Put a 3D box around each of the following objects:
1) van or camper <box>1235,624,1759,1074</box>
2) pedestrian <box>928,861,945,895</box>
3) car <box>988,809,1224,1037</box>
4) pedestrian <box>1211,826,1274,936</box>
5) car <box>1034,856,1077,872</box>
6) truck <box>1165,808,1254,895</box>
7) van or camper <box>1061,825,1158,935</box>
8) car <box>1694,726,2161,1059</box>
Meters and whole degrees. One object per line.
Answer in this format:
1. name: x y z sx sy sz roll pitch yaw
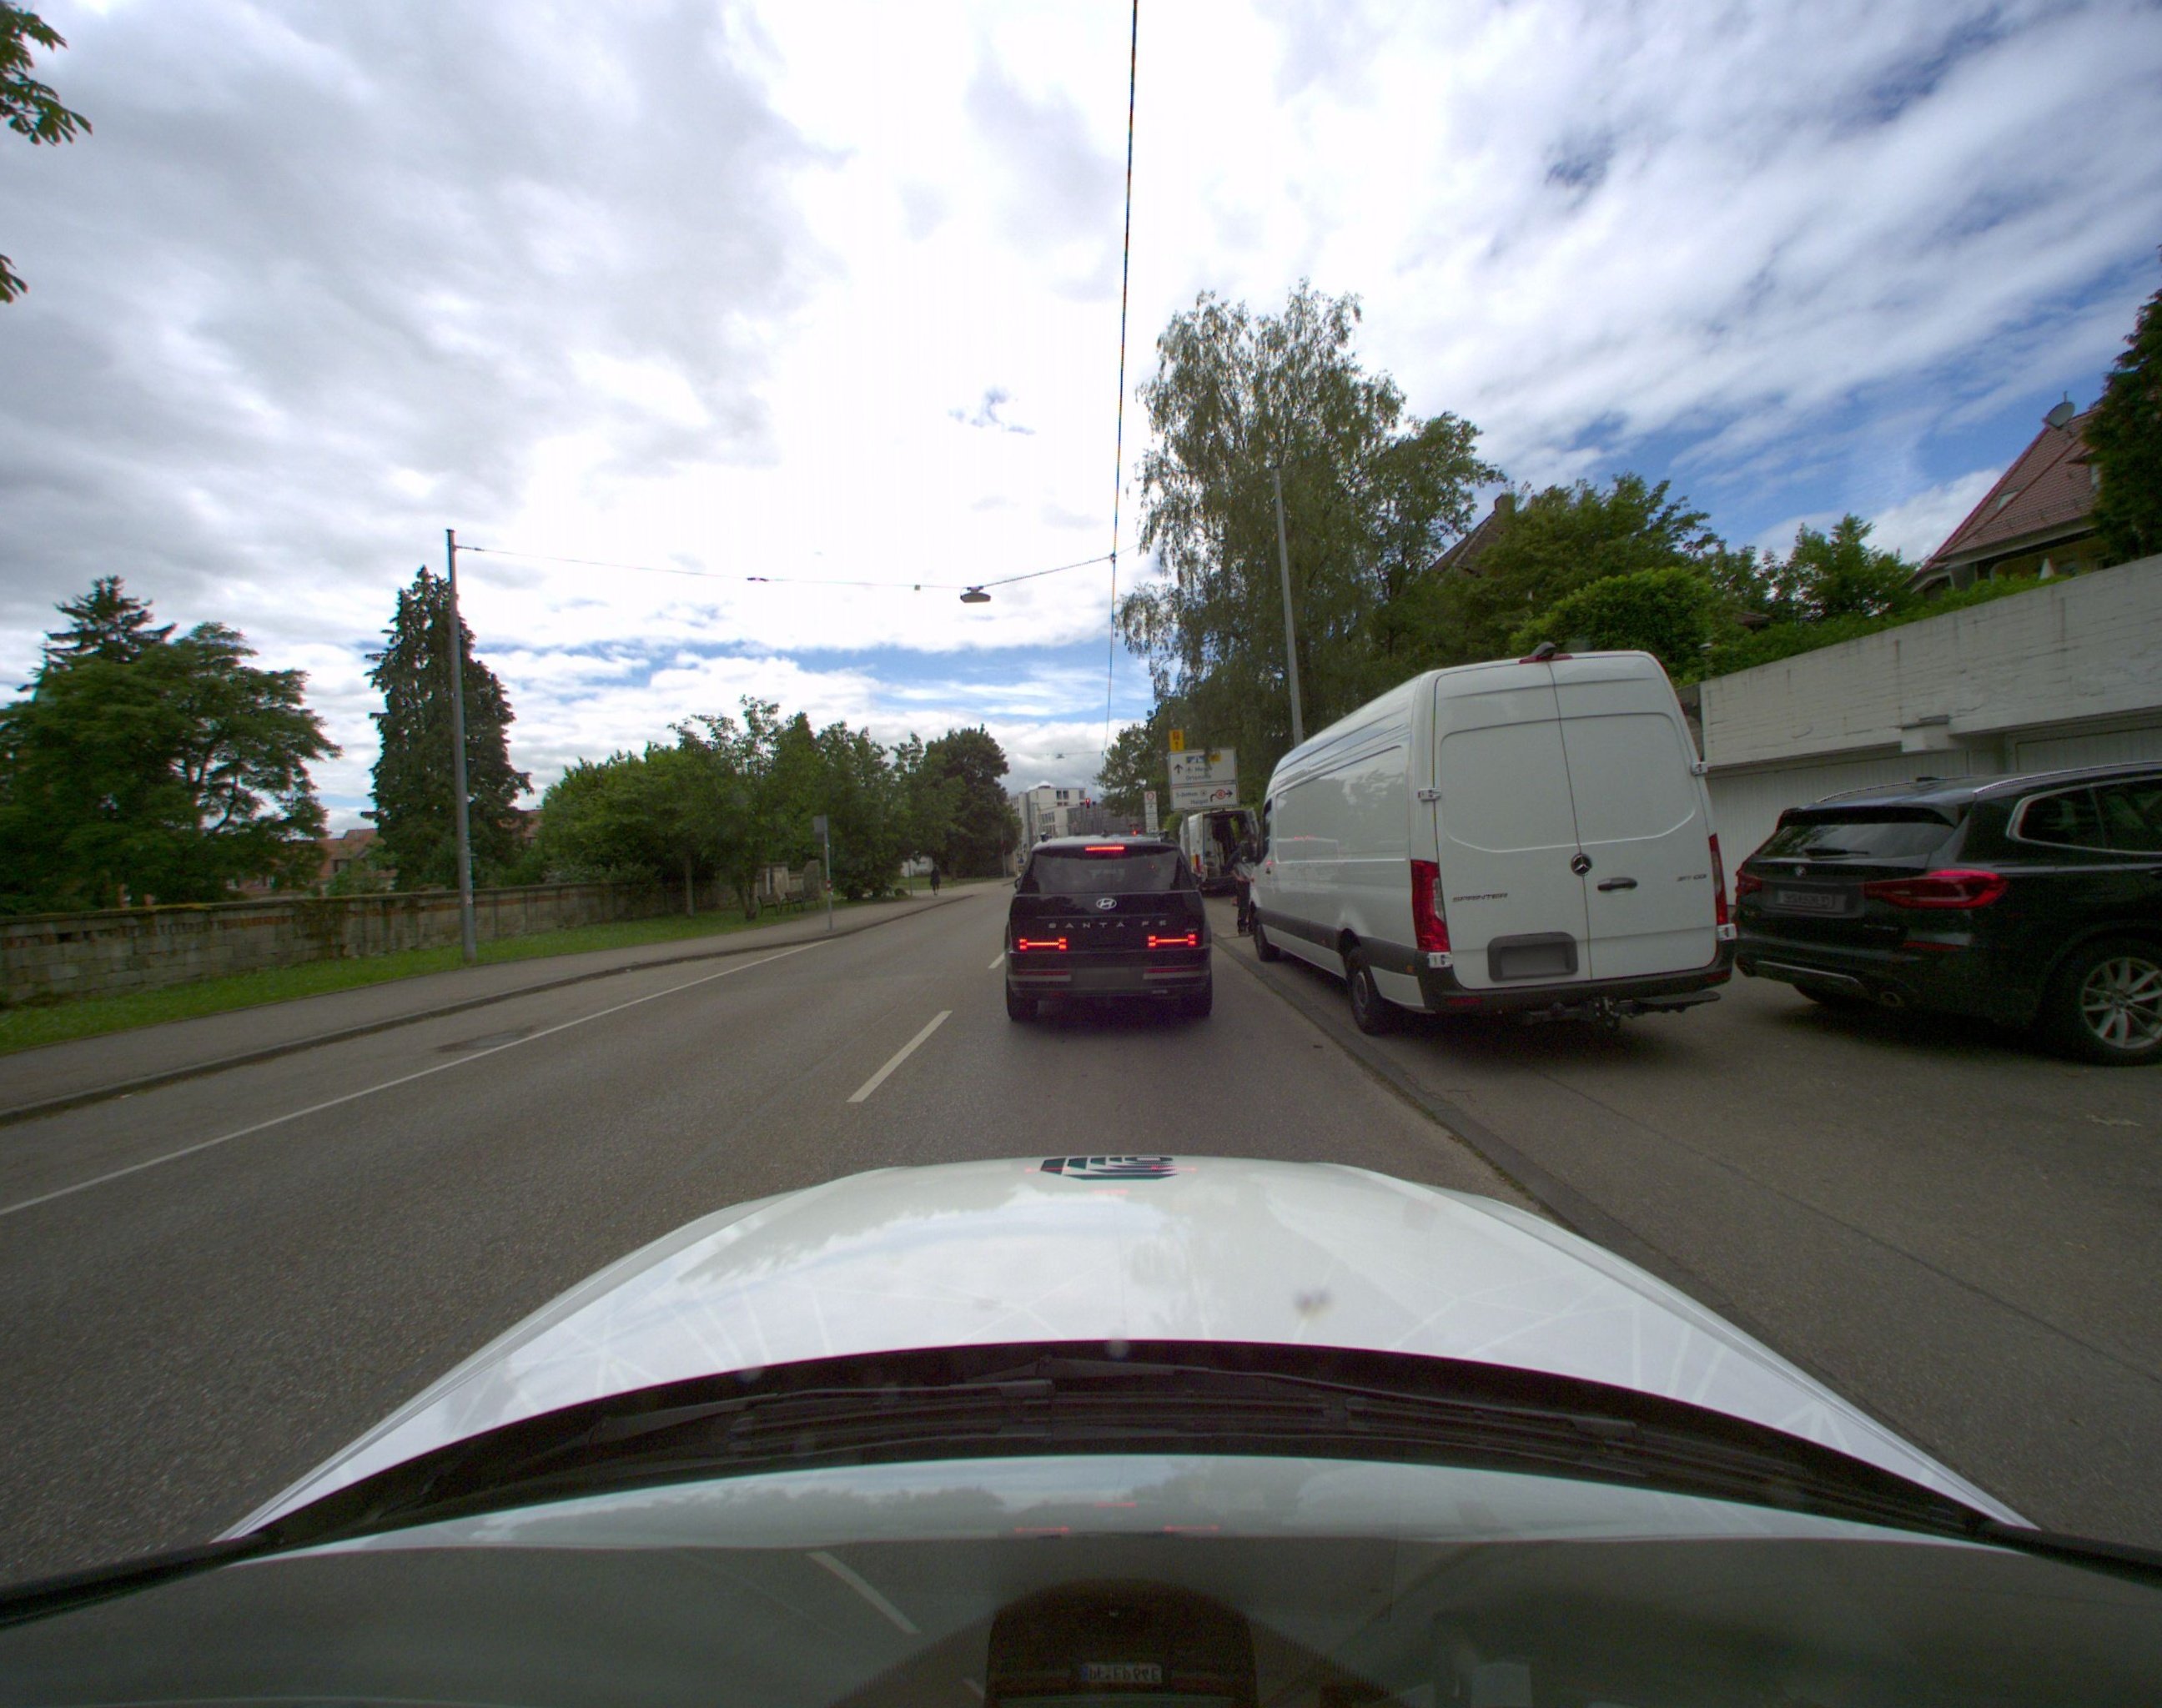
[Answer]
1. van or camper: 3.133 -0.029 8.202 1.986 2.620 6.543 -3 0 2
2. pedestrian: -7.364 1.214 41.515 0.737 1.715 0.791 -3 0 -5
3. car: 0.265 0.566 8.673 1.883 1.819 4.002 -2 0 2
4. pedestrian: 2.761 0.445 14.010 0.867 1.797 0.760 -3 0 1
5. car: -2.803 1.136 89.976 4.697 1.748 1.997 0 -1 -5
6. truck: 4.295 -0.060 28.058 1.937 2.561 5.213 -5 -1 -1
7. van or camper: 0.614 0.507 17.616 1.748 2.013 4.002 -3 0 2
8. car: 6.861 0.129 5.232 4.398 1.750 1.739 -3 0 3
